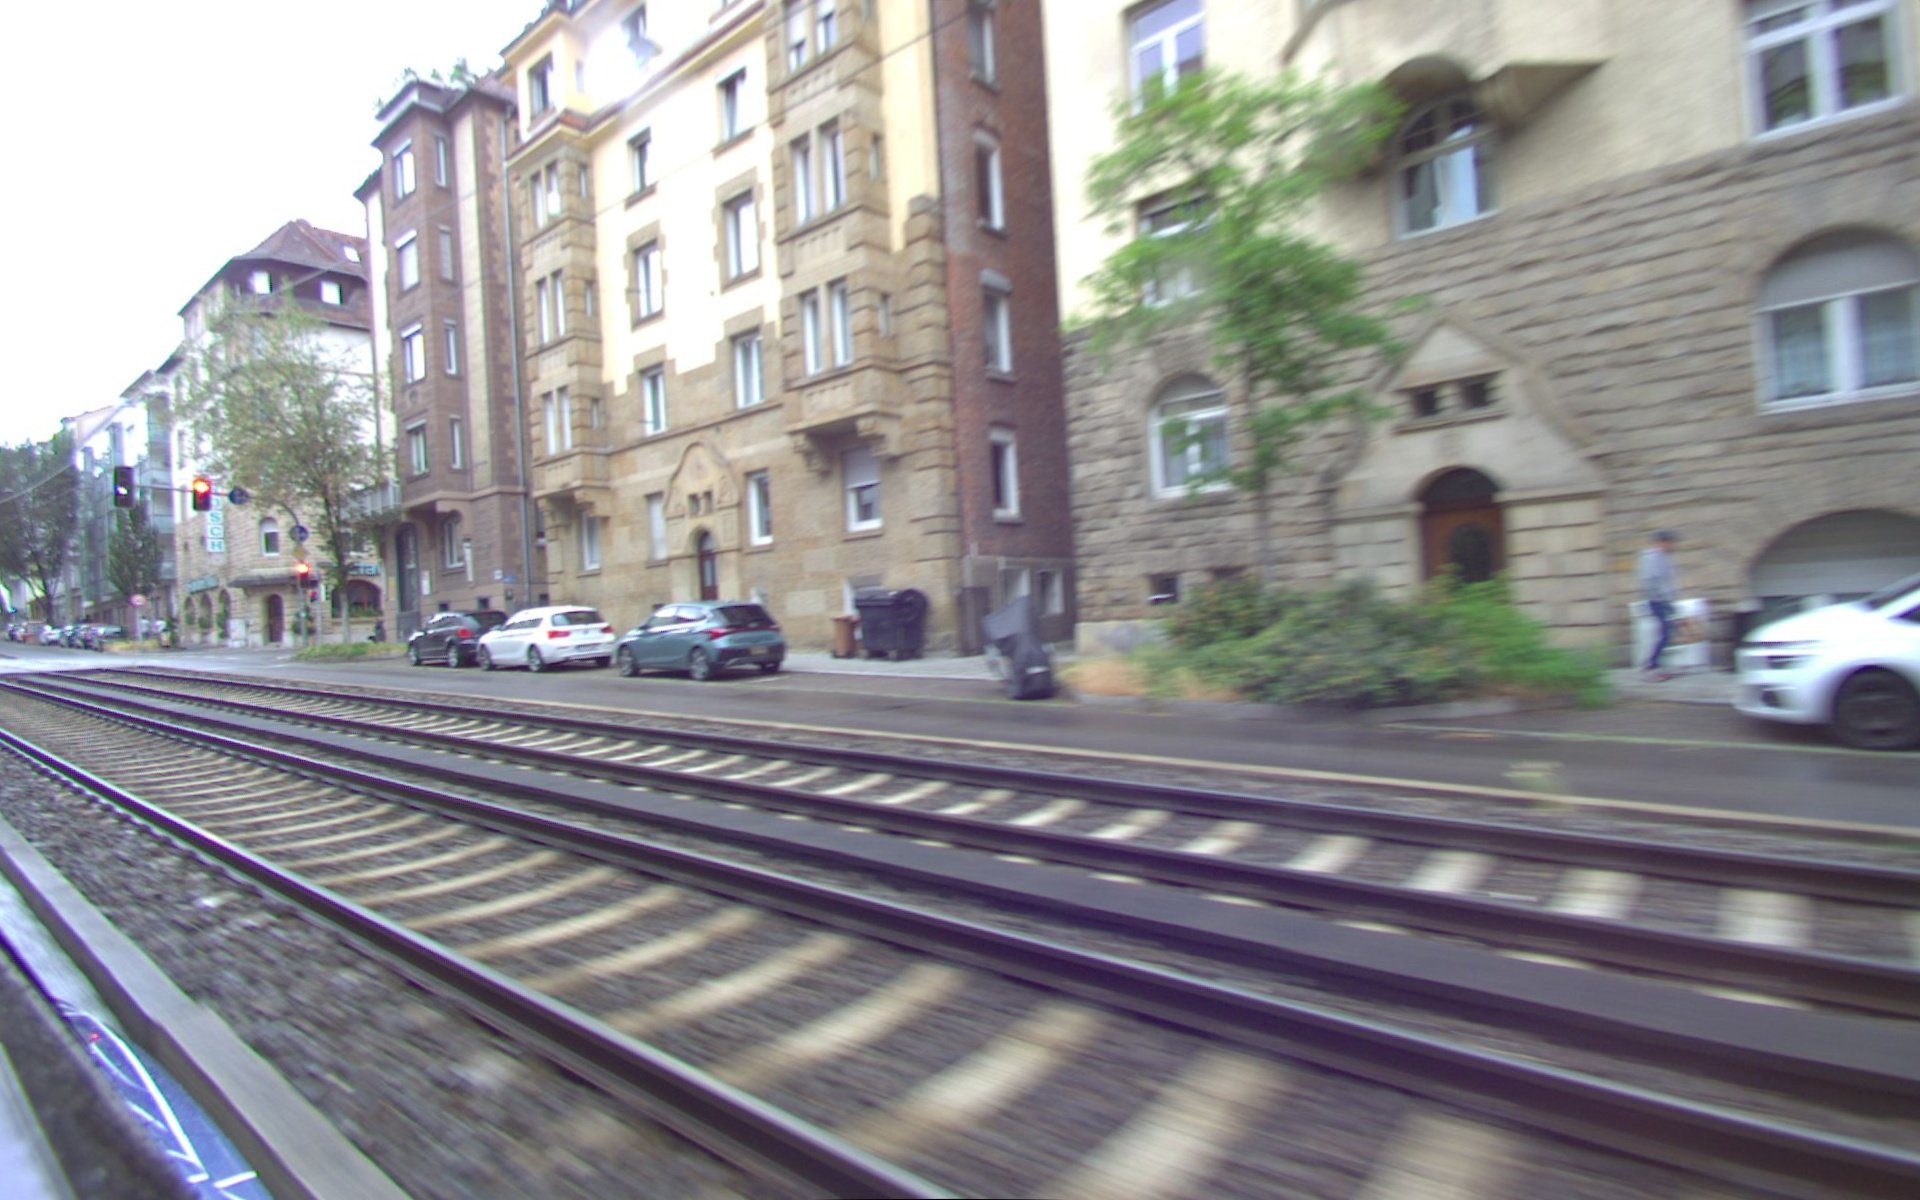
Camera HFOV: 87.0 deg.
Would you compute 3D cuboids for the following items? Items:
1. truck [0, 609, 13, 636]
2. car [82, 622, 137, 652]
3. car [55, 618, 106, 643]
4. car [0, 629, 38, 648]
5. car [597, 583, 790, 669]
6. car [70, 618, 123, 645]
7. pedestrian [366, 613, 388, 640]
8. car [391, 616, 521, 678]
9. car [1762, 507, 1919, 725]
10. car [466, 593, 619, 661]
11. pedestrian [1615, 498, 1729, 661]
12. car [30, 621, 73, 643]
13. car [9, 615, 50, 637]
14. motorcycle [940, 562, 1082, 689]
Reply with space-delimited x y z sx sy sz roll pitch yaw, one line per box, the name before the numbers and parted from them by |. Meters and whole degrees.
truck | -86.960 1.998 90.982 6.352 2.363 2.168 0 1 43
car | -48.254 2.108 57.422 3.892 1.564 1.747 -2 0 40
car | -55.445 1.923 63.768 4.427 1.466 1.783 -2 0 40
car | -76.182 3.099 81.760 4.465 1.451 1.887 -1 0 40
car | -5.280 0.493 19.774 4.144 1.448 1.545 -2 2 41
car | -51.536 1.869 60.370 3.522 1.509 1.789 -2 1 40
pedestrian | -31.089 1.413 53.966 0.721 1.426 0.808 -2 0 44
car | -13.596 1.213 27.215 3.999 1.497 1.746 -1 0 42
car | 8.621 0.067 7.313 4.344 1.601 1.768 -2 0 38
car | -9.851 0.623 23.722 4.262 1.436 1.649 -2 0 43
pedestrian | 8.194 -0.234 11.635 0.924 1.766 0.997 -2 1 41
car | -62.298 2.162 69.382 4.128 1.345 1.685 -1 2 41
car | -70.831 1.941 77.010 4.155 1.581 1.758 -1 0 40
motorcycle | 0.783 0.333 14.440 1.285 1.655 2.249 -2 0 24
